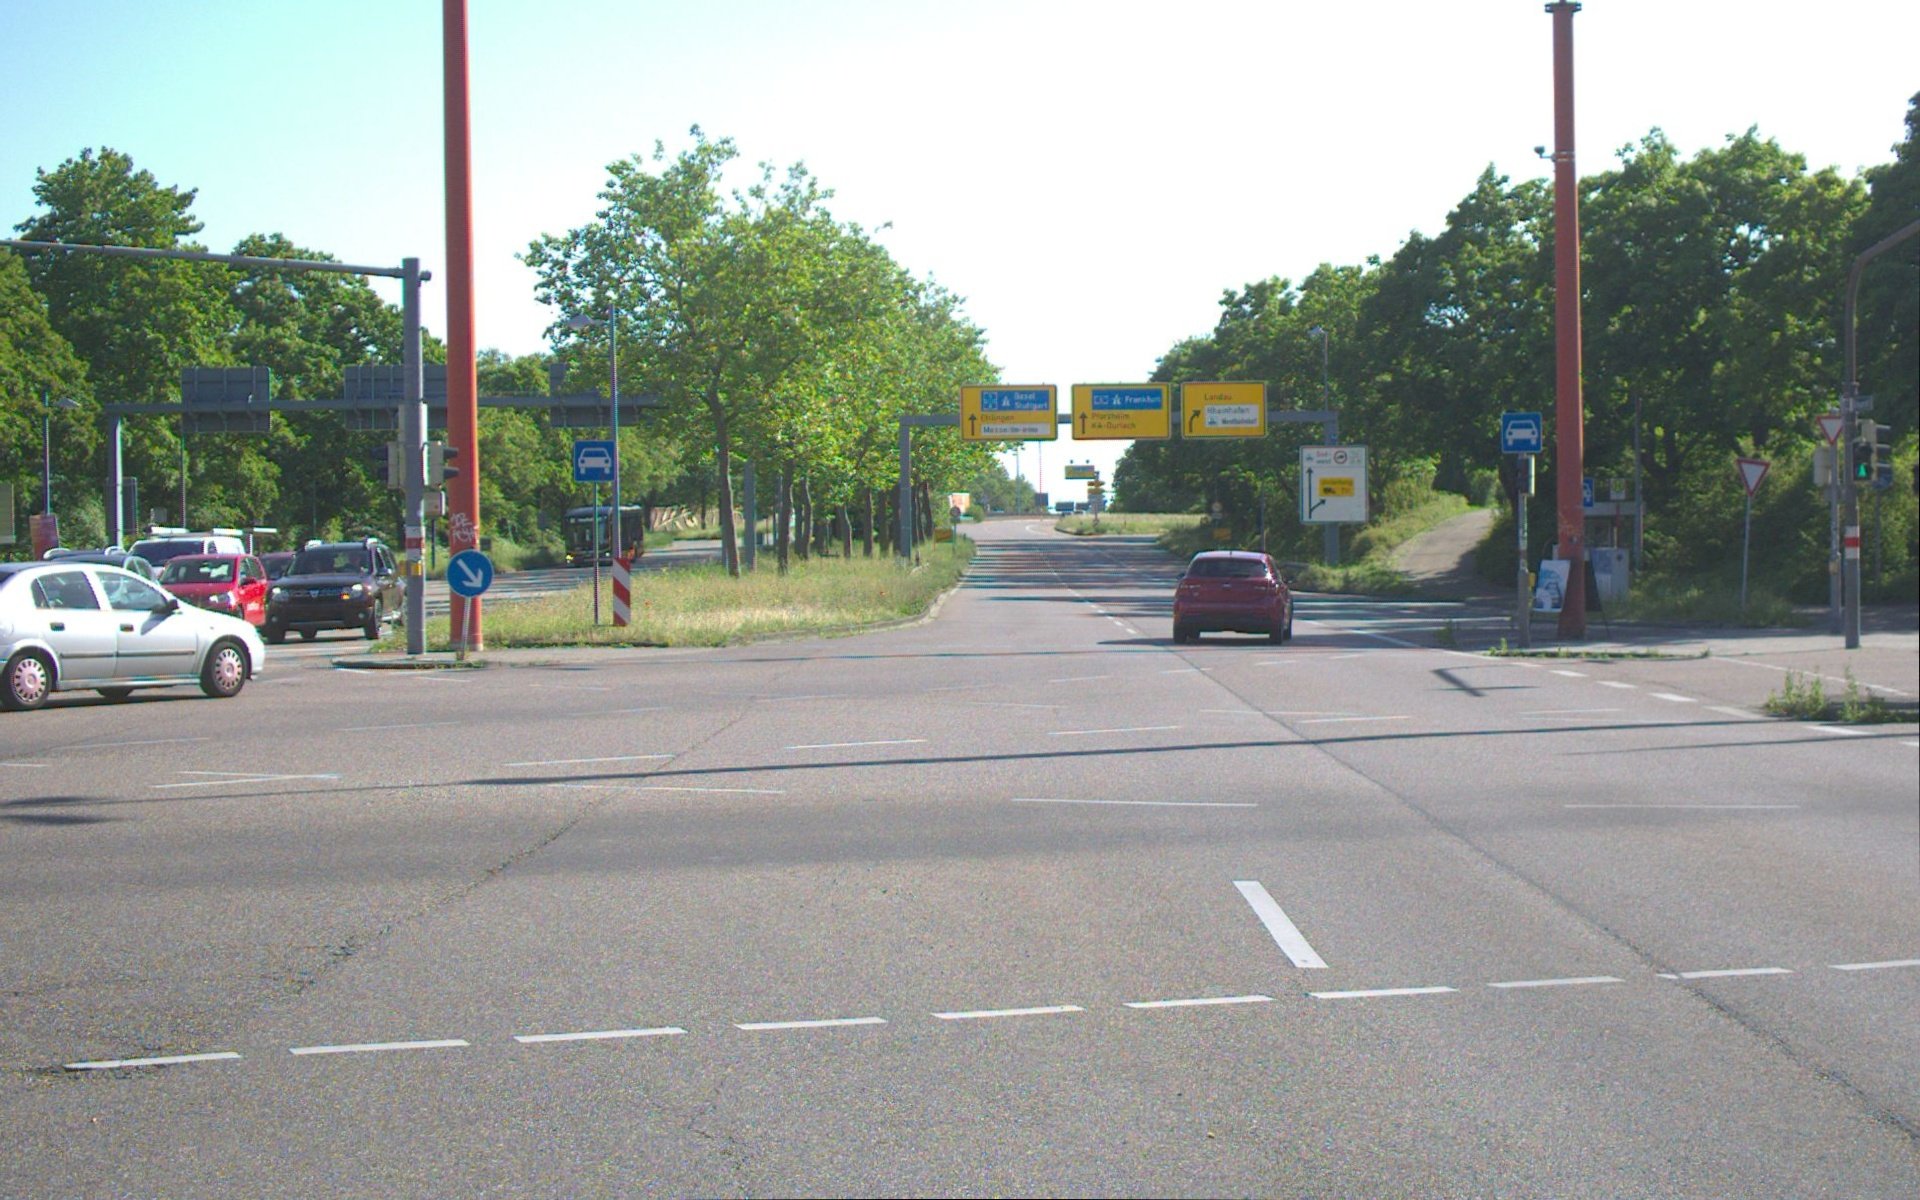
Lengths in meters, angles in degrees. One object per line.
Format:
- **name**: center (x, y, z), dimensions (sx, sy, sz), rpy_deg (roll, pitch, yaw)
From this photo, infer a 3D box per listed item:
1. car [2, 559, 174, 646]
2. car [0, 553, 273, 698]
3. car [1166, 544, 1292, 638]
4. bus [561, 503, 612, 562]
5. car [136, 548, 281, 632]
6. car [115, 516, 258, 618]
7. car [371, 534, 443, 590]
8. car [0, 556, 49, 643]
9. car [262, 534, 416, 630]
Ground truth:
- **car**: center (-13.118, 0.014, 51.907), dimensions (1.739, 1.239, 3.613), rpy_deg (-1, 1, -1)
- **car**: center (-8.618, 0.231, 33.322), dimensions (1.486, 1.341, 3.992), rpy_deg (0, 0, 33)
- **car**: center (4.359, -0.164, 55.240), dimensions (1.681, 1.430, 4.064), rpy_deg (0, 1, 9)
- **bus**: center (-21.058, -3.783, 194.020), dimensions (2.491, 3.227, 10.002), rpy_deg (-1, 1, -4)
- **car**: center (-12.696, -0.191, 58.276), dimensions (1.739, 1.357, 3.613), rpy_deg (-1, 1, -1)
- **car**: center (-15.900, -0.682, 70.946), dimensions (1.893, 2.019, 5.223), rpy_deg (0, 1, -1)
- **car**: center (-20.064, -1.390, 124.788), dimensions (1.993, 2.007, 4.000), rpy_deg (-1, 1, -1)
- **car**: center (-16.426, -0.018, 57.053), dimensions (1.739, 1.406, 3.613), rpy_deg (-1, 1, -1)
- **car**: center (-10.125, -0.319, 56.314), dimensions (1.819, 1.503, 4.000), rpy_deg (-1, 1, -1)
